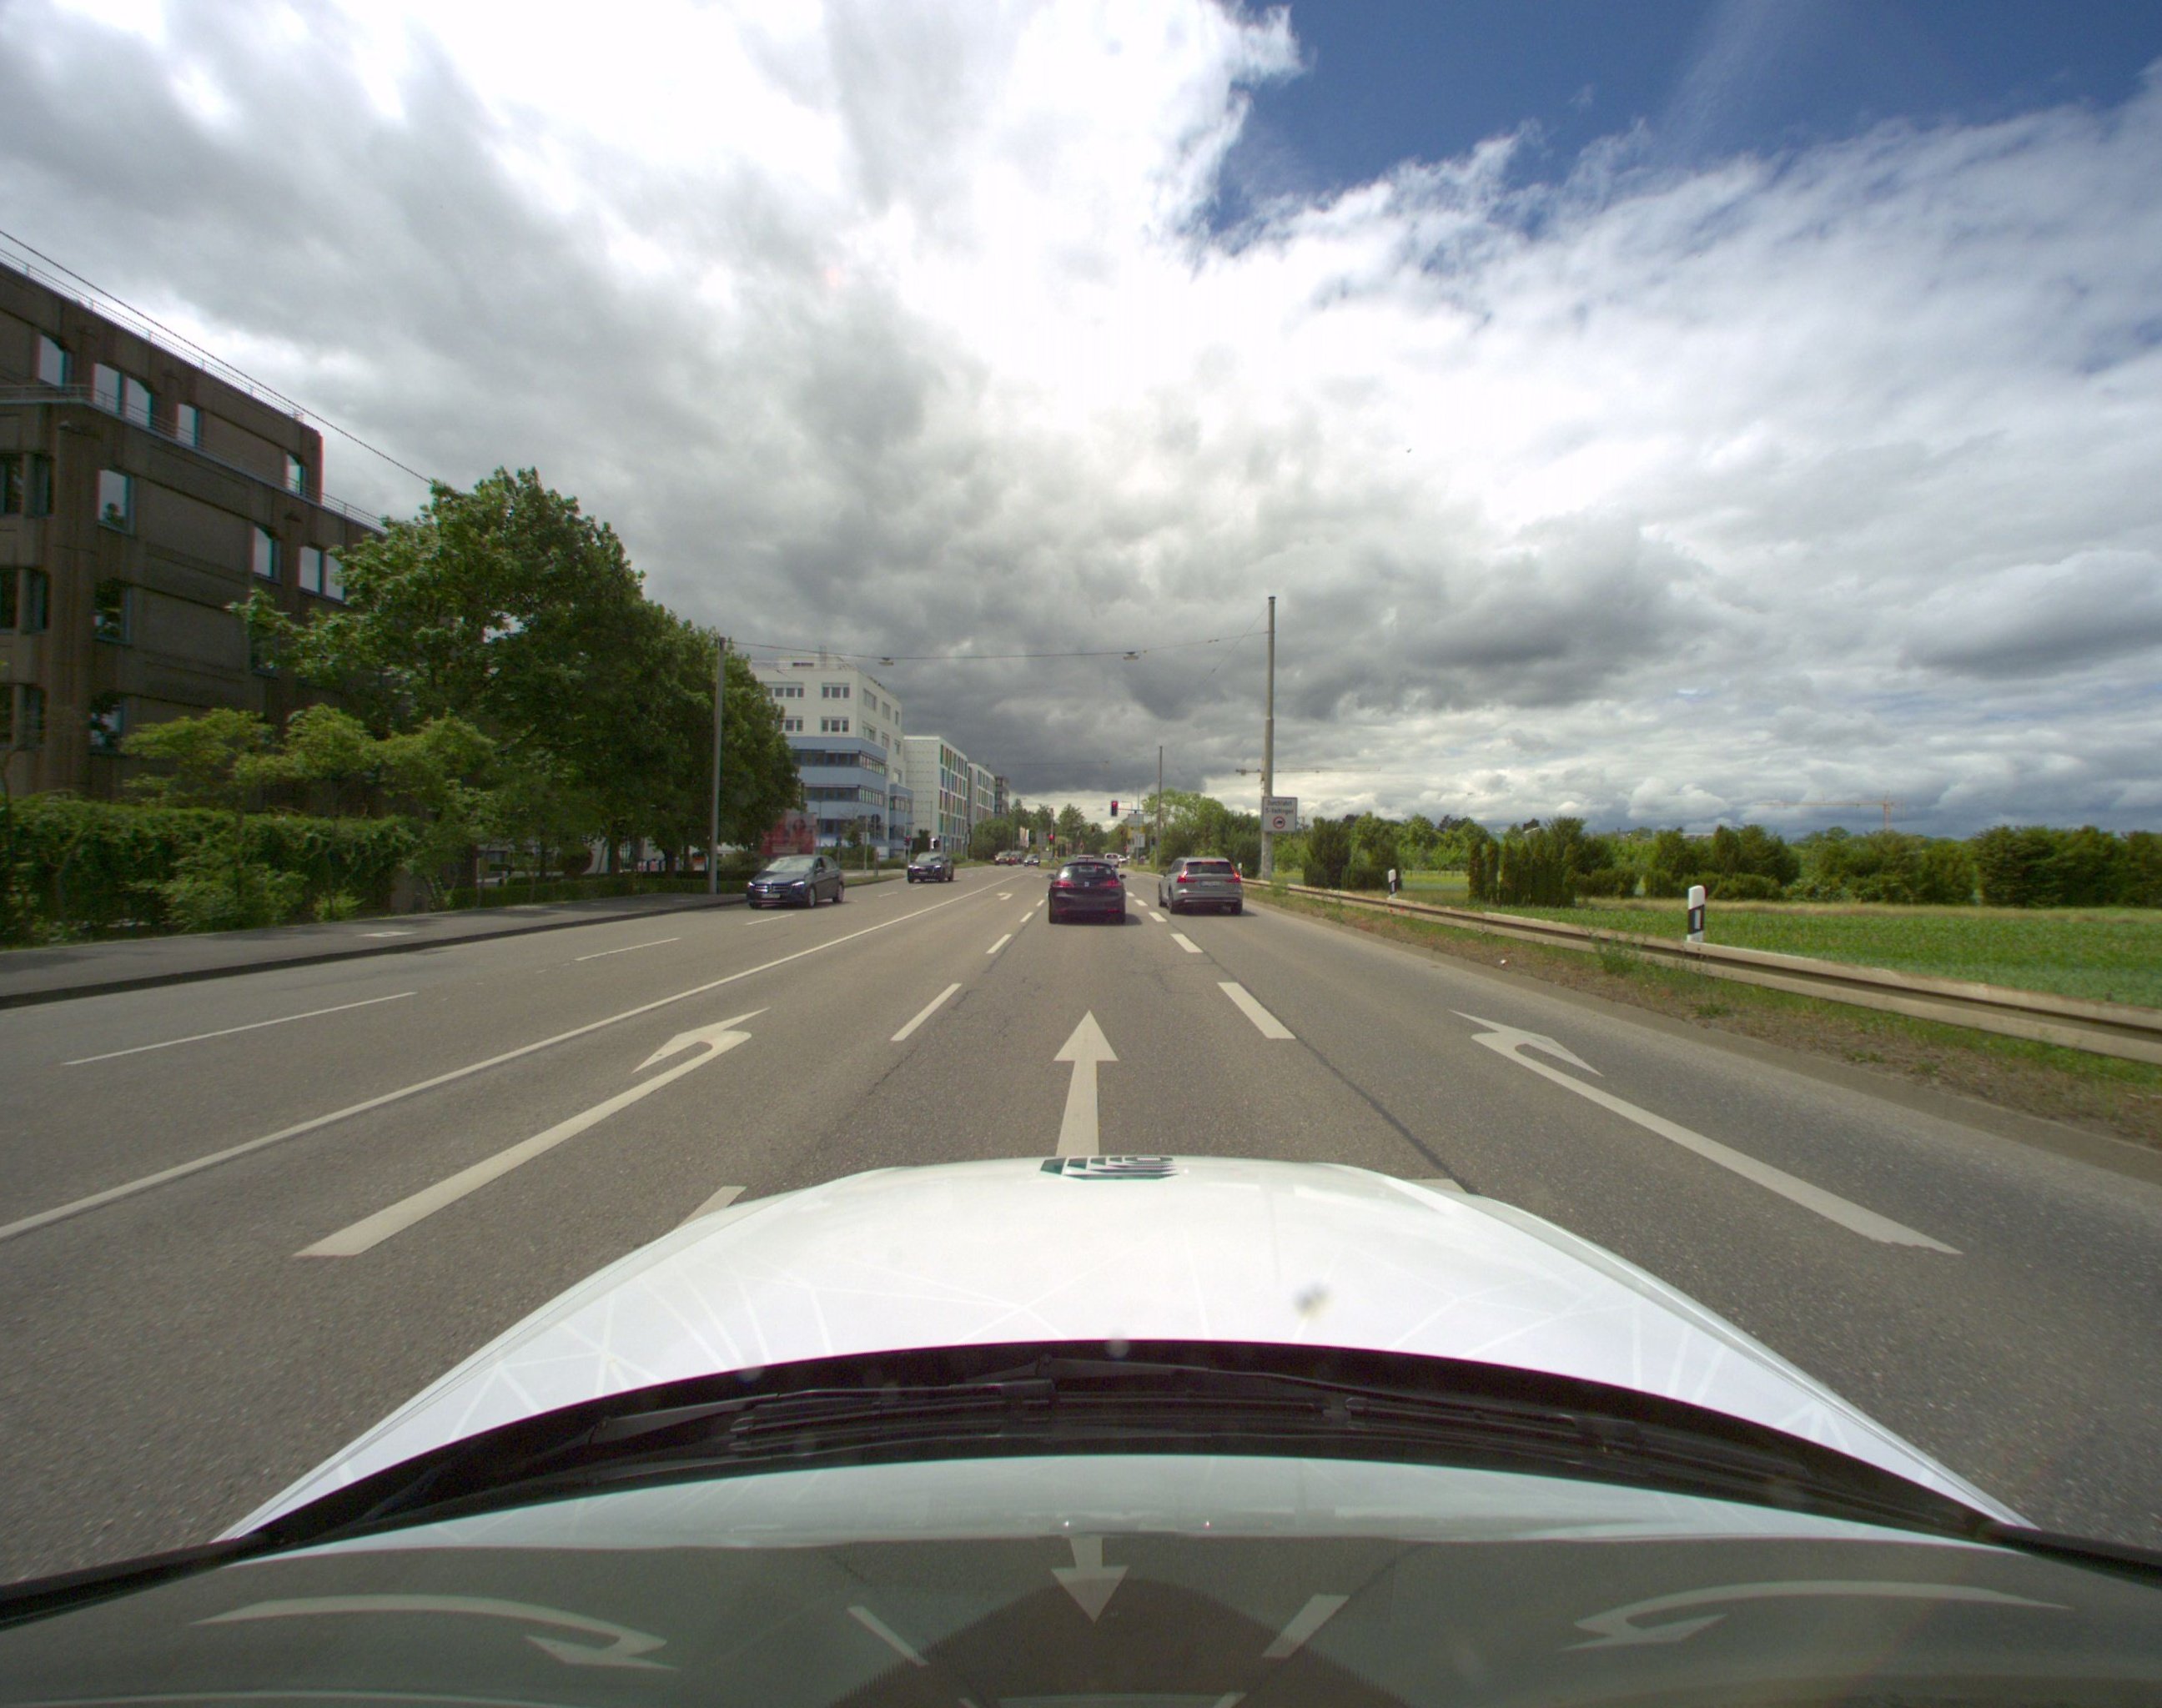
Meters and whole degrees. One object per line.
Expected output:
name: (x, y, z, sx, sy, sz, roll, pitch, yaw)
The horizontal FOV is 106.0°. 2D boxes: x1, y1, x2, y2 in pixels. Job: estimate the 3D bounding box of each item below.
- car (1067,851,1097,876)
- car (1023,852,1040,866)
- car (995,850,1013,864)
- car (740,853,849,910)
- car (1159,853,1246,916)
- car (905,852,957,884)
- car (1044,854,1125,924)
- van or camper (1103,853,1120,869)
car: (0.049, 0.651, 57.687, 1.978, 1.590, 4.224, 1, 0, -1)
car: (-5.705, 0.530, 93.807, 1.663, 1.524, 4.007, -1, 1, 0)
car: (-9.011, 0.331, 95.184, 1.746, 1.631, 3.999, -1, 0, 0)
car: (-8.604, 0.769, 24.890, 1.790, 1.585, 4.312, -1, 0, 0)
car: (3.210, 0.782, 22.329, 1.950, 1.525, 4.343, -1, -1, 3)
car: (-8.113, 0.742, 44.328, 1.861, 1.615, 4.573, 1, -1, 1)
car: (0.183, 0.769, 19.426, 1.740, 1.484, 4.003, 0, -1, 3)
van or camper: (3.993, 0.939, 106.336, 1.894, 1.926, 3.996, 2, -1, -2)
